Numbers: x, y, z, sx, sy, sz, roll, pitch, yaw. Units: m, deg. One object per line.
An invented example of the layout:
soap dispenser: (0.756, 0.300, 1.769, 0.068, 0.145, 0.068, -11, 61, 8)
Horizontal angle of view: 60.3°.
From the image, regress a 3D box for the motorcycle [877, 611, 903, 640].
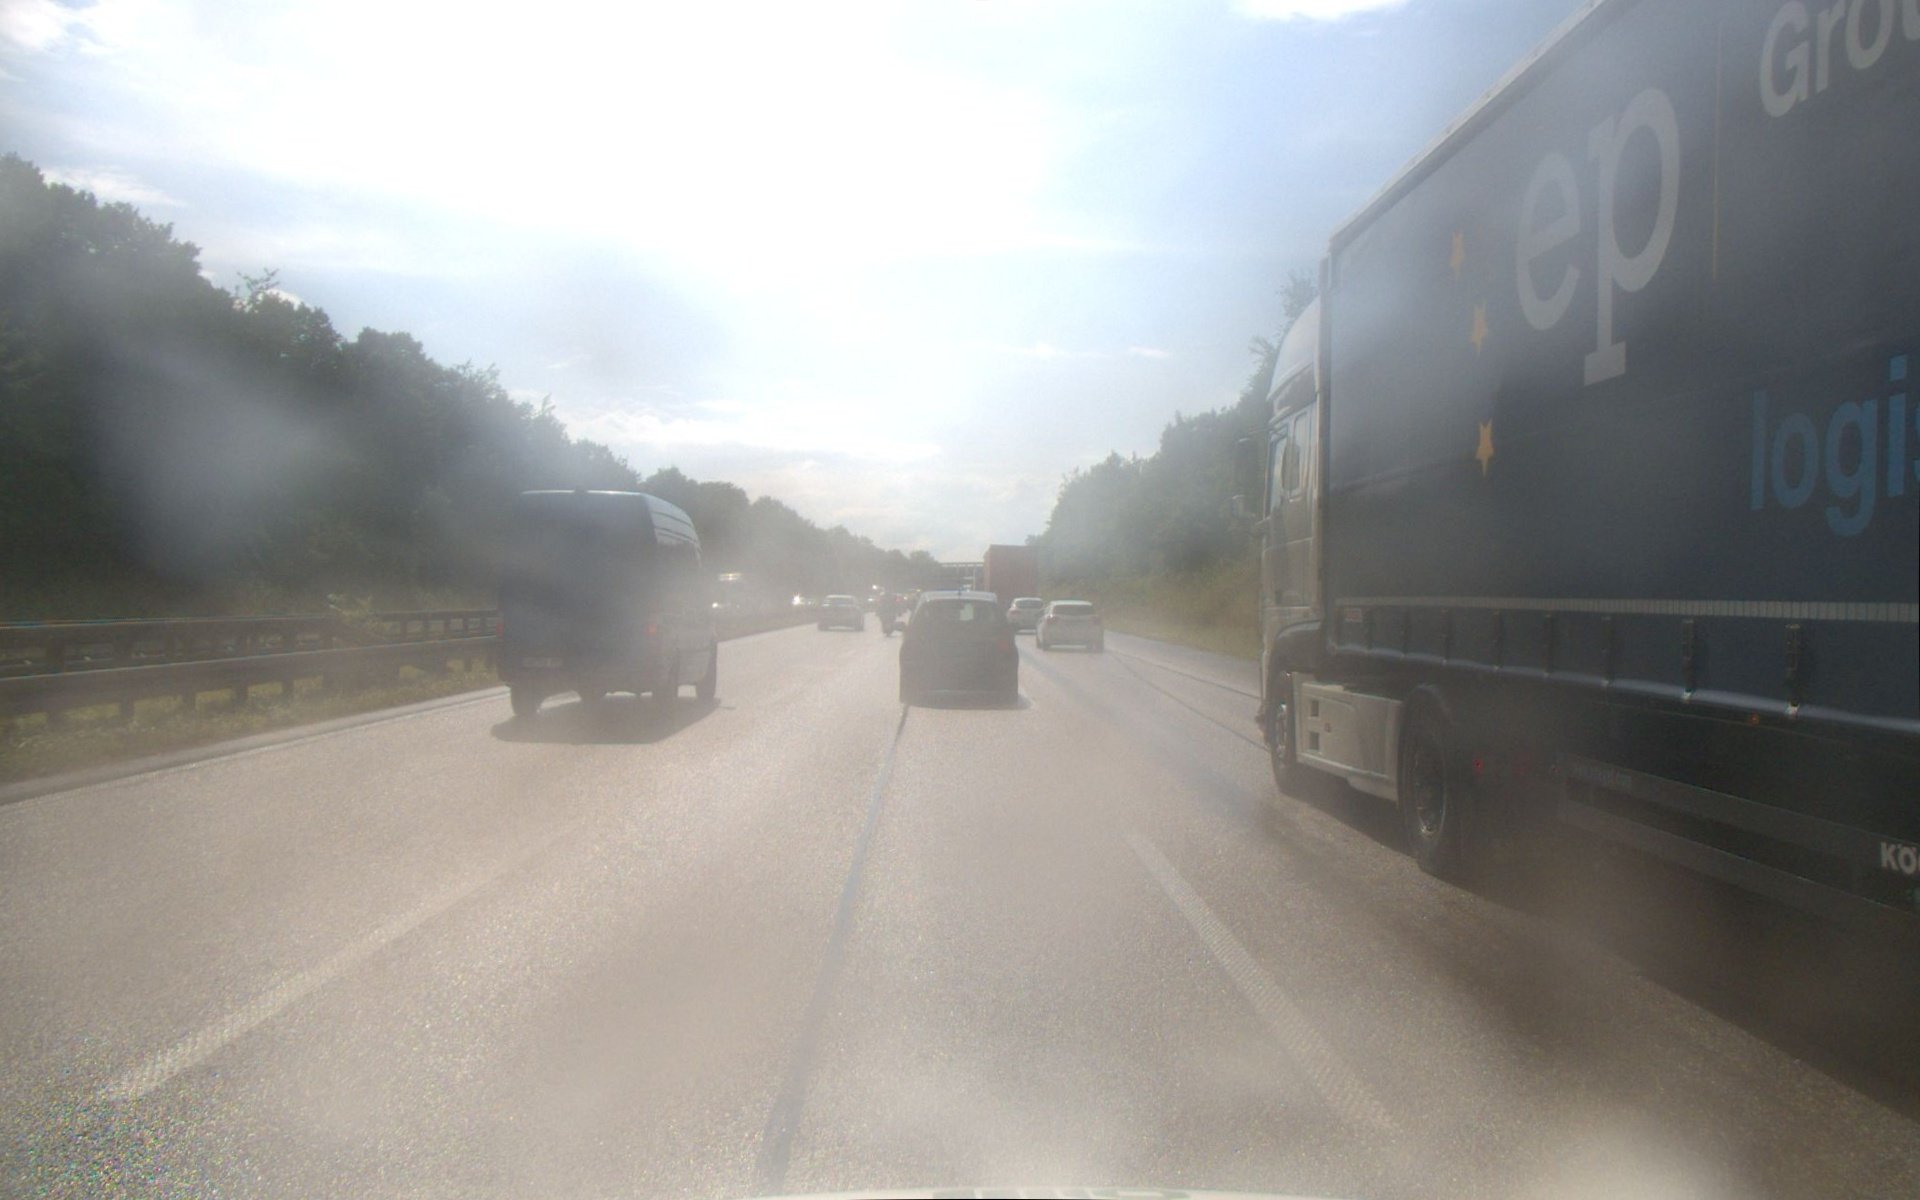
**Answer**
motorcycle: (-2.566, 0.930, 61.211, 0.872, 1.018, 2.895, 1, 0, -1)

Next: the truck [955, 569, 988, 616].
truck: (1.230, -0.736, 170.811, 3.189, 4.558, 12.421, 1, 0, 1)

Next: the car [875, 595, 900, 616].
car: (-5.331, 0.430, 122.030, 1.716, 1.482, 3.389, 1, 0, -1)

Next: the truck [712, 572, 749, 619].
truck: (-22.681, -0.422, 163.809, 2.805, 4.449, 6.867, 1, 0, -1)

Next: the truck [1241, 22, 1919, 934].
truck: (3.828, -0.532, 11.068, 2.553, 4.065, 7.289, 1, 0, -1)

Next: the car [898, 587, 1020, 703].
car: (-0.045, 0.639, 24.912, 1.683, 1.595, 3.484, 1, 0, -1)

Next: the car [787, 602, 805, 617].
car: (-18.901, 1.077, 190.949, 1.665, 1.692, 4.235, 1, 0, -1)

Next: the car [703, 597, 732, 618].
car: (-19.957, 0.591, 136.104, 1.791, 1.692, 4.630, 1, 0, -1)

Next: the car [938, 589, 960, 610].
car: (-0.818, -0.023, 118.466, 1.521, 1.407, 3.209, 1, 0, -1)

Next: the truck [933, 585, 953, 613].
truck: (-1.868, -0.092, 179.788, 2.147, 2.926, 4.848, 1, 0, -1)

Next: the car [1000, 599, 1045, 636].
car: (2.607, 0.716, 69.213, 1.646, 1.467, 3.904, 1, 0, -1)

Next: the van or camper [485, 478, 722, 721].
van or camper: (-4.416, 0.004, 21.409, 1.953, 2.715, 5.383, 1, 0, -1)

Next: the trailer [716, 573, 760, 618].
trailer: (-22.757, -0.402, 170.423, 2.805, 4.449, 14.089, 1, 0, -1)

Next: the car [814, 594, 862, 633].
car: (-5.206, 0.570, 70.798, 1.817, 1.578, 3.484, 1, 0, -1)

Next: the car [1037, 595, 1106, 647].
car: (3.238, 0.595, 48.758, 1.658, 1.450, 4.219, 1, 0, -1)

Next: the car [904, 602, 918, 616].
car: (-5.140, 0.953, 174.519, 1.455, 1.414, 3.197, 1, 0, -1)

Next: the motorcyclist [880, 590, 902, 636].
motorcyclist: (-2.548, 0.474, 61.380, 0.785, 1.662, 1.013, 1, 0, -1)

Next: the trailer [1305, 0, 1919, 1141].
trailer: (3.903, -0.552, 5.122, 2.580, 4.065, 14.062, 1, 0, -1)

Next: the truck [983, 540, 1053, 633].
truck: (3.141, -0.667, 94.473, 3.575, 4.803, 16.779, 1, 0, 1)

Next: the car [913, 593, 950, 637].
car: (-1.210, 0.625, 69.602, 1.500, 1.777, 3.484, 1, 0, -1)

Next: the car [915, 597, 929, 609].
car: (-5.577, 0.457, 240.849, 1.953, 1.731, 3.999, 0, 0, -1)
